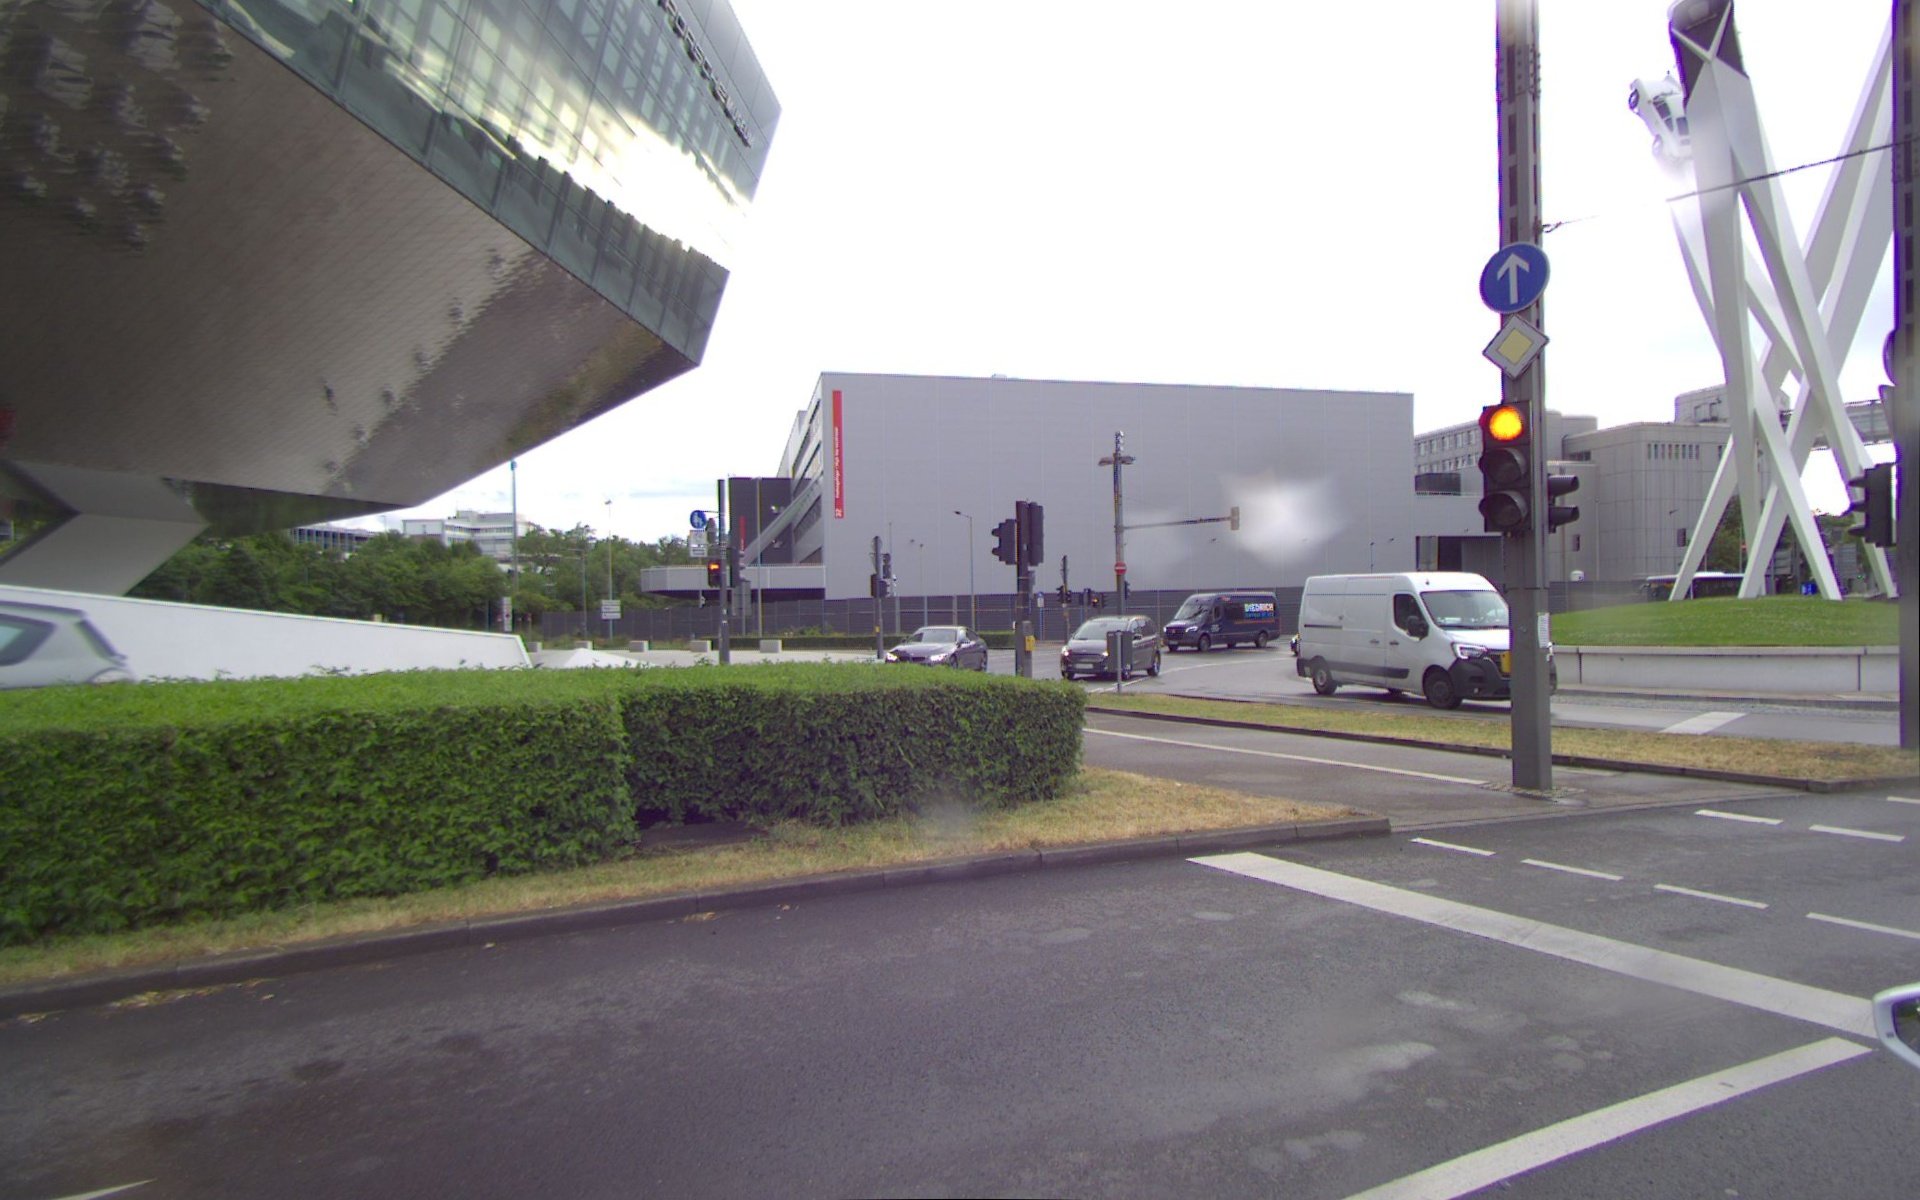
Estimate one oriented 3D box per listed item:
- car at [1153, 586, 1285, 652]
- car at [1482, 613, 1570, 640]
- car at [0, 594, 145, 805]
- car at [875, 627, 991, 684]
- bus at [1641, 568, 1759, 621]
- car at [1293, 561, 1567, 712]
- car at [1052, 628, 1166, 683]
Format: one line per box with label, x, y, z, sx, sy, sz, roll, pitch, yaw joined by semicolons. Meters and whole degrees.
car;12.206;0.895;46.989;7.059;2.858;1.953;1;-1;-36
car;31.956;1.486;56.774;3.919;1.506;1.780;0;0;7
car;-8.326;0.700;6.880;1.811;1.514;3.983;0;-1;39
car;-0.629;1.440;27.111;1.803;1.356;4.248;0;-1;18
bus;49.291;-0.251;66.676;12.545;3.243;2.651;1;0;-36
car;8.764;0.656;19.445;1.965;2.479;5.415;0;-1;-12
car;4.269;1.501;28.215;1.805;1.356;4.480;0;-1;28
